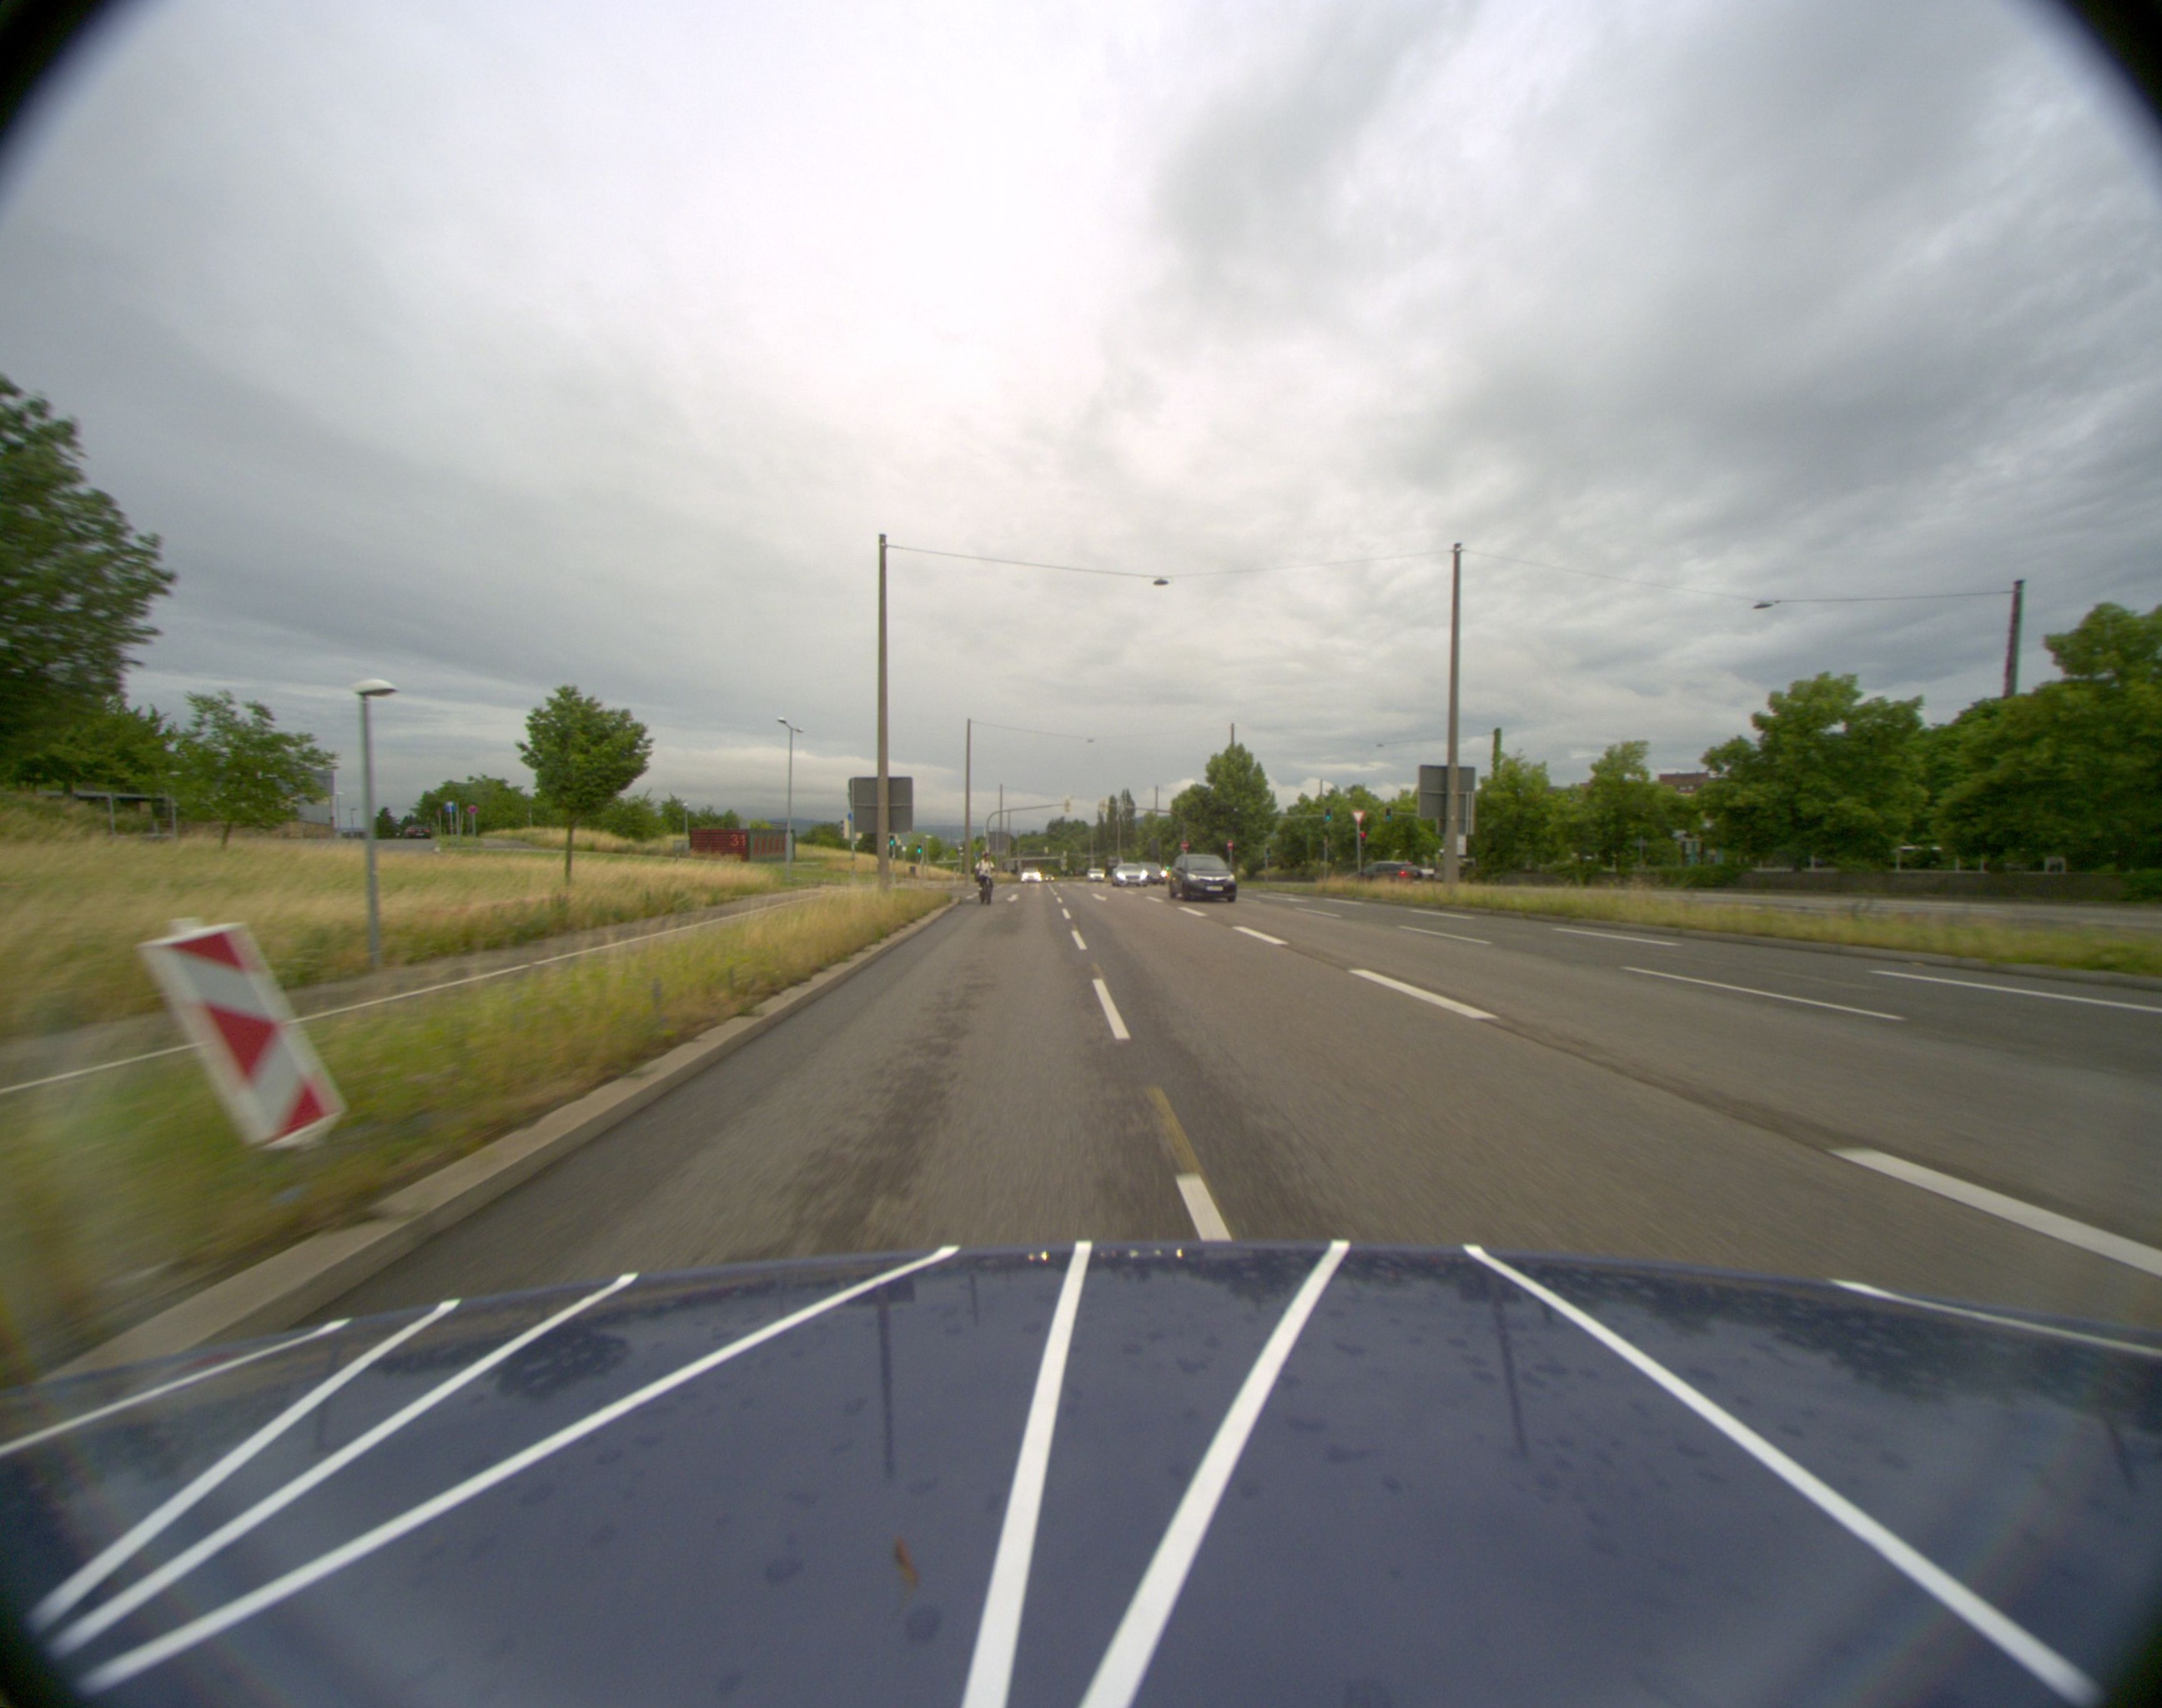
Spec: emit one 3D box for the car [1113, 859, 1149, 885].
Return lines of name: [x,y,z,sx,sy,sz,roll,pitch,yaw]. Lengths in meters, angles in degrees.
car: [3.022,1.106,46.722,1.998,1.399,4.526,-2,-1,2]

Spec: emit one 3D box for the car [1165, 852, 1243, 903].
car: [4.108,0.753,25.979,1.801,1.556,4.041,1,1,-3]

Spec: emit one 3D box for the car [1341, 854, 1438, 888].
car: [14.374,0.781,35.664,1.898,1.498,3.992,1,-1,-25]

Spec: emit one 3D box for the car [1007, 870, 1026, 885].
car: [-7.463,2.675,87.987,1.999,1.632,4.627,-2,-1,-4]

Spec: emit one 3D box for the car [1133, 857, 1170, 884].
car: [5.105,1.188,55.564,1.999,1.850,3.999,0,-1,-4]

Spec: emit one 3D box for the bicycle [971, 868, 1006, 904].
bicycle: [-3.031,1.024,24.839,0.635,1.098,1.749,0,1,-24]

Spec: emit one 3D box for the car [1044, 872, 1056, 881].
car: [-6.279,4.536,152.791,2.000,1.632,4.626,-2,-1,-7]

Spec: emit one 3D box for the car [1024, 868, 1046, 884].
car: [-4.477,2.189,75.083,1.725,1.513,4.229,0,-2,2]

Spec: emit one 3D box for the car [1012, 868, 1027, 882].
car: [-8.105,2.770,100.374,1.843,1.532,3.815,-3,2,-3]

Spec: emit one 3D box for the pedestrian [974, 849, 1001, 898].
pedestrian: [-3.060,0.630,24.902,0.635,1.562,0.894,0,1,-24]

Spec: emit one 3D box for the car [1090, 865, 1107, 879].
car: [2.282,2.354,99.527,1.998,1.632,4.629,-2,-1,0]
